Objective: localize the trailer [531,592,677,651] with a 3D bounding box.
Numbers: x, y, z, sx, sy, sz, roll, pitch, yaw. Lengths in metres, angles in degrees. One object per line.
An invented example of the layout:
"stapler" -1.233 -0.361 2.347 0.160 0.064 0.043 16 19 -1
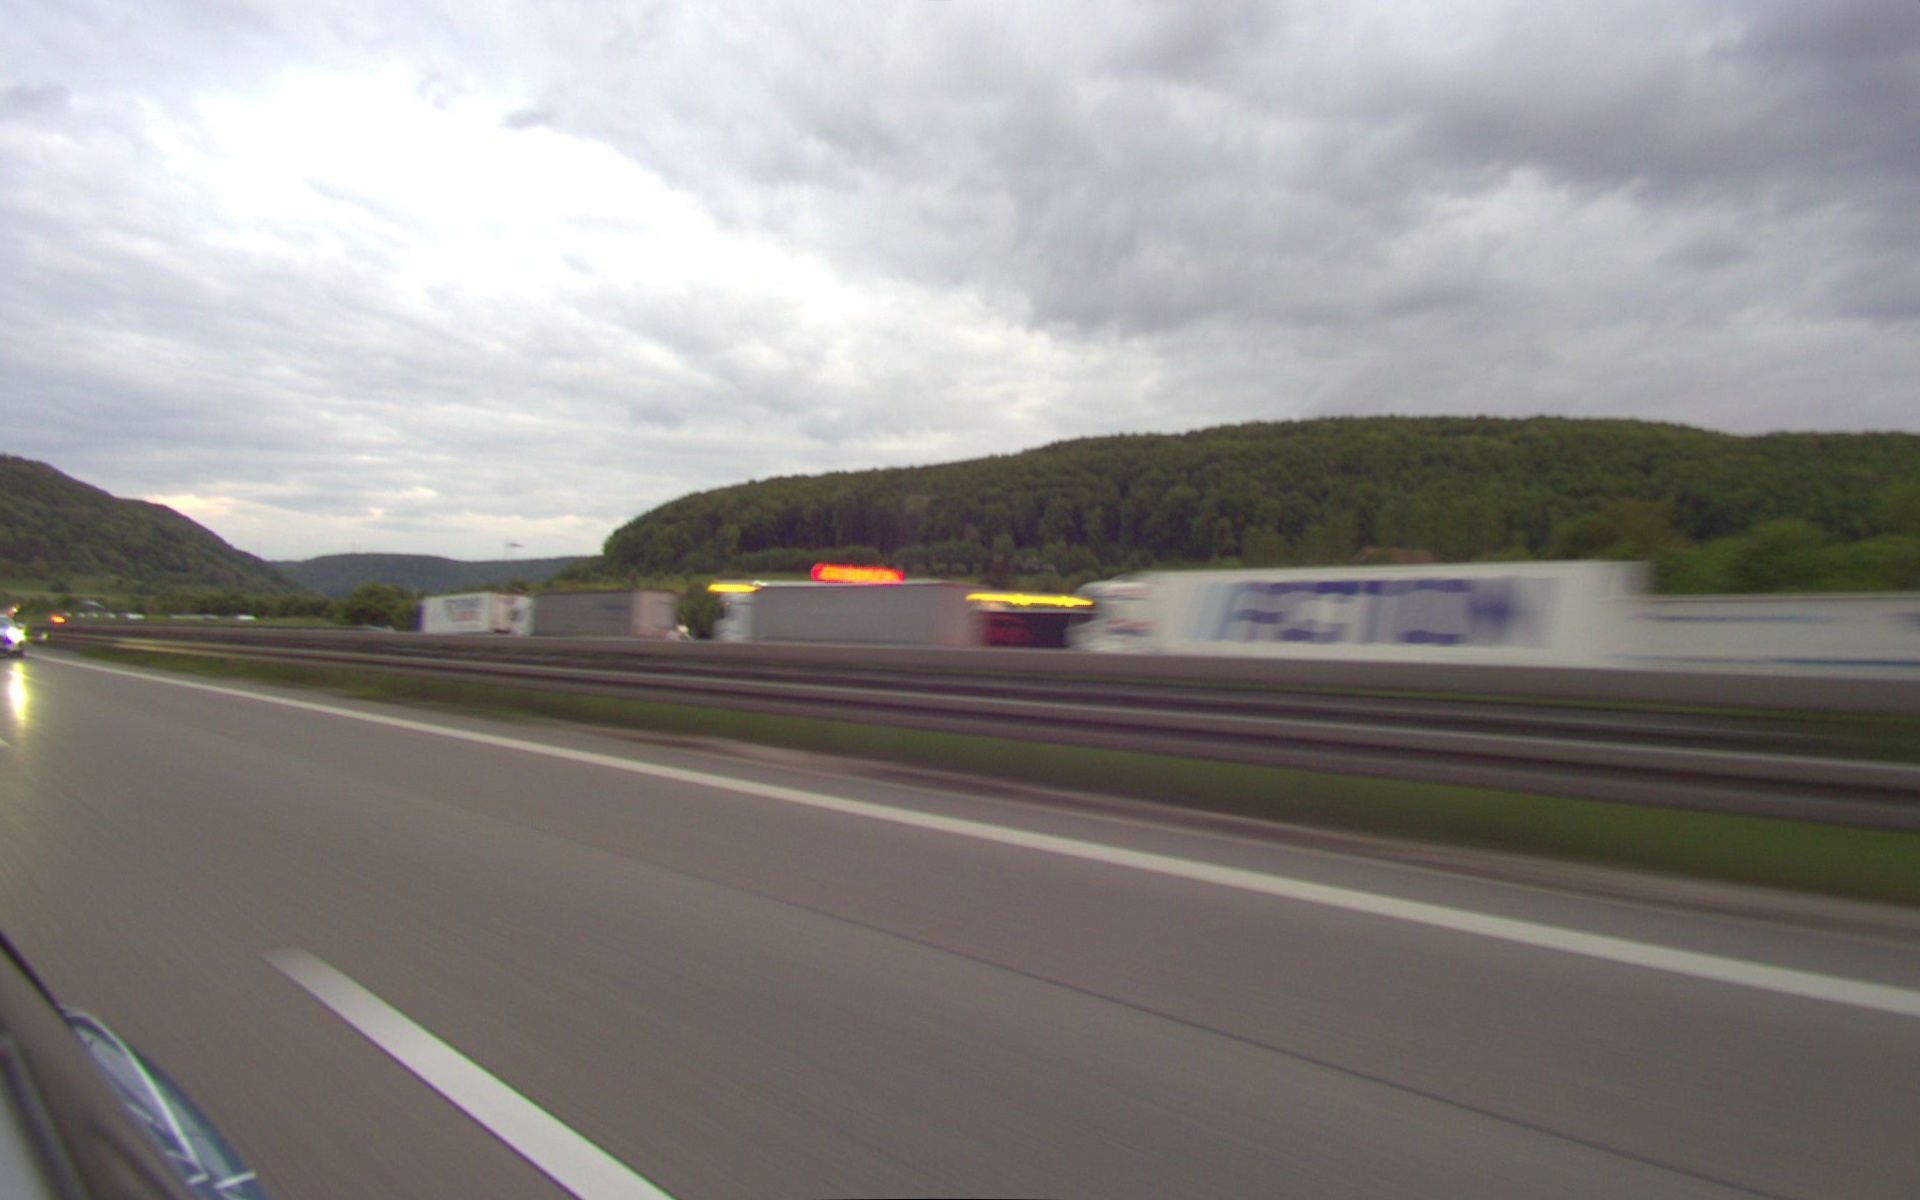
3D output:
"trailer" -23.058 1.402 64.833 13.568 3.451 2.842 -1 -1 43

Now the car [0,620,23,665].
"car" -34.606 1.484 35.656 5.034 1.512 1.771 -1 -1 41

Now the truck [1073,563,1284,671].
"truck" 7.621 0.613 35.738 6.716 3.451 2.846 -1 -1 38

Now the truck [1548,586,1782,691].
"truck" 26.928 1.431 38.881 7.027 3.668 2.842 -1 -1 43

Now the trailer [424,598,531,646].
"trailer" -37.432 1.706 78.083 13.224 3.451 2.842 -1 -1 43

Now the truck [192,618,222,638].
"truck" -117.842 4.379 158.378 5.303 3.112 2.836 -1 -2 42

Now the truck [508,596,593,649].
"truck" -28.169 1.536 69.537 6.725 3.451 2.842 -1 -1 42

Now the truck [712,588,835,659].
"truck" -9.792 1.226 52.651 6.725 3.451 2.842 -1 -1 43

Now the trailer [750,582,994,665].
"trailer" -4.596 1.103 47.875 13.847 3.451 2.842 -1 -1 42

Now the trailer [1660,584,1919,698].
"trailer" 31.738 1.351 34.472 12.713 3.707 2.842 -1 -1 42

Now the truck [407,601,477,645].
"truck" -42.428 1.859 82.754 7.174 3.401 2.842 -1 -1 43

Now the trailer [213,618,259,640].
"trailer" -105.993 4.195 148.147 11.151 3.112 2.838 -1 -2 40

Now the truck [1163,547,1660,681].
"truck" 13.246 0.497 31.385 13.767 3.451 2.847 -1 -1 37

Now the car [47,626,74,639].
"car" -111.672 4.036 125.644 4.739 1.605 1.972 -1 -1 42
